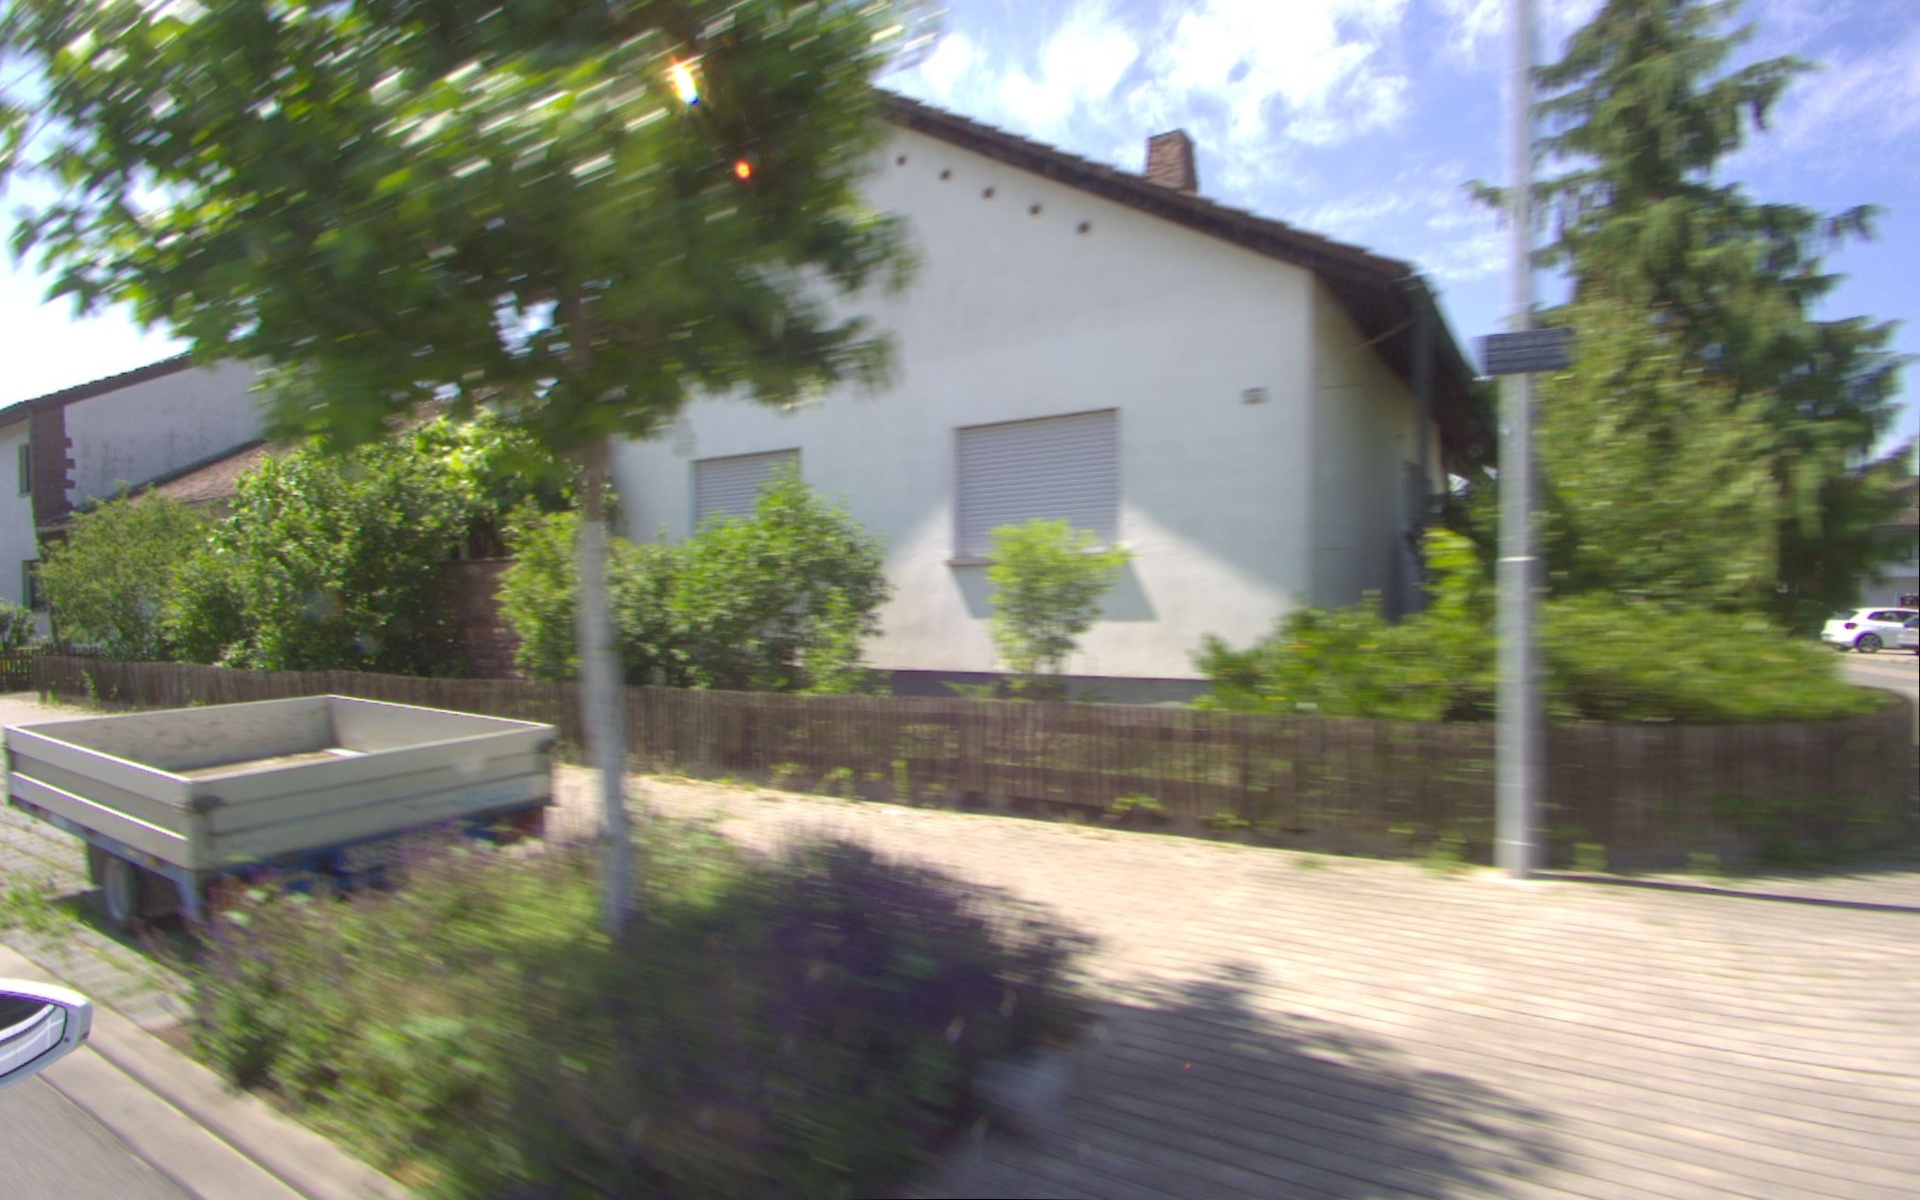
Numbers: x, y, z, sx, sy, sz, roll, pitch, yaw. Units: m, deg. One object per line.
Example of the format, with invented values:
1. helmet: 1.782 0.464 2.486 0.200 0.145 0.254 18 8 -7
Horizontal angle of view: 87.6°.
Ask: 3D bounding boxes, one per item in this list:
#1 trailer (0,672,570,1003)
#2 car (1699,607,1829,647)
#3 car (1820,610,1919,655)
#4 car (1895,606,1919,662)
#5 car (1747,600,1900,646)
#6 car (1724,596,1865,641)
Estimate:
1. trailer: -3.737 1.015 5.365 2.859 1.072 1.783 -1 0 34
2. car: 33.934 1.129 42.370 3.931 1.658 1.756 0 -1 22
3. car: 29.156 1.023 31.076 3.446 1.373 1.512 0 -2 24
4. car: 26.818 0.867 25.797 3.630 1.450 1.641 -1 0 24
5. car: 31.888 0.830 37.112 3.931 1.617 1.755 0 0 22
6. car: 33.207 0.742 39.968 3.931 1.719 1.756 0 -2 22
